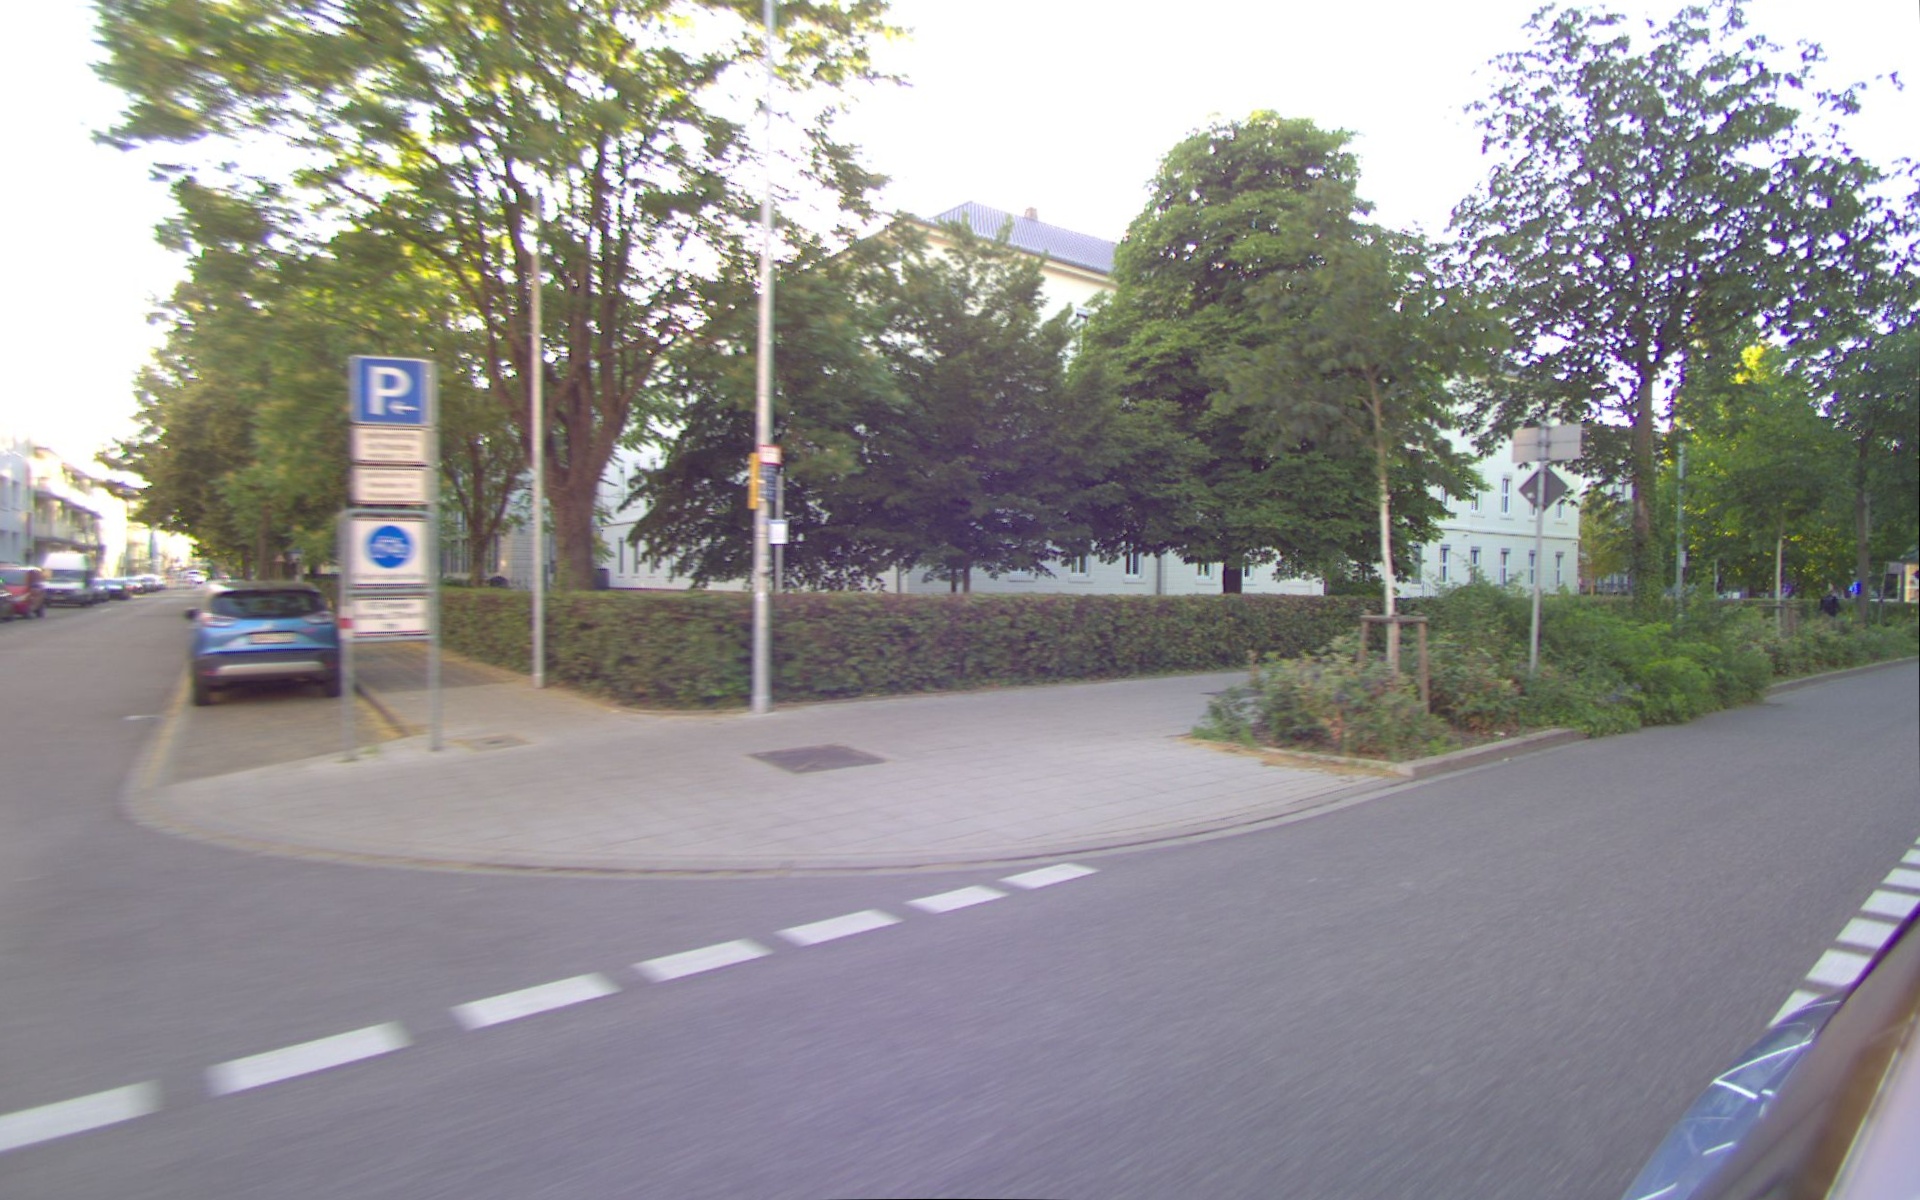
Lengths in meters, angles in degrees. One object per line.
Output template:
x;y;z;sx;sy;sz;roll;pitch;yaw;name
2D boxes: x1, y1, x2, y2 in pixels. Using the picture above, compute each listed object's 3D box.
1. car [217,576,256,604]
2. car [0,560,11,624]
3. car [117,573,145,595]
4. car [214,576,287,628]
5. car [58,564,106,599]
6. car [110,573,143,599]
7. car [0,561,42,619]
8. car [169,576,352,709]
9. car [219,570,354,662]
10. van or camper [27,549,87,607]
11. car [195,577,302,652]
-42.694;-0.599;59.680;1.729;1.555;3.716;-1;2;-38;car
-32.369;-0.254;32.860;1.964;2.039;3.996;0;0;-39;car
-80.705;-1.545;98.587;1.964;2.039;3.997;0;0;-38;car
-23.007;0.008;32.766;1.729;1.555;3.716;-1;2;-38;car
-52.928;-1.107;61.039;1.964;2.039;3.997;0;1;-38;car
-69.467;-1.170;84.407;1.963;2.039;3.998;0;1;-37;car
-35.542;-0.399;37.638;1.805;2.065;3.996;1;0;-39;car
-10.162;0.474;14.585;1.840;1.600;3.925;-1;2;-40;car
-13.439;0.223;20.101;1.840;1.640;3.925;-1;2;-40;car
-45.904;-1.120;51.539;1.976;2.784;5.197;2;0;-39;van or camper
-16.589;0.255;23.527;1.729;1.555;3.925;-1;2;-40;car
